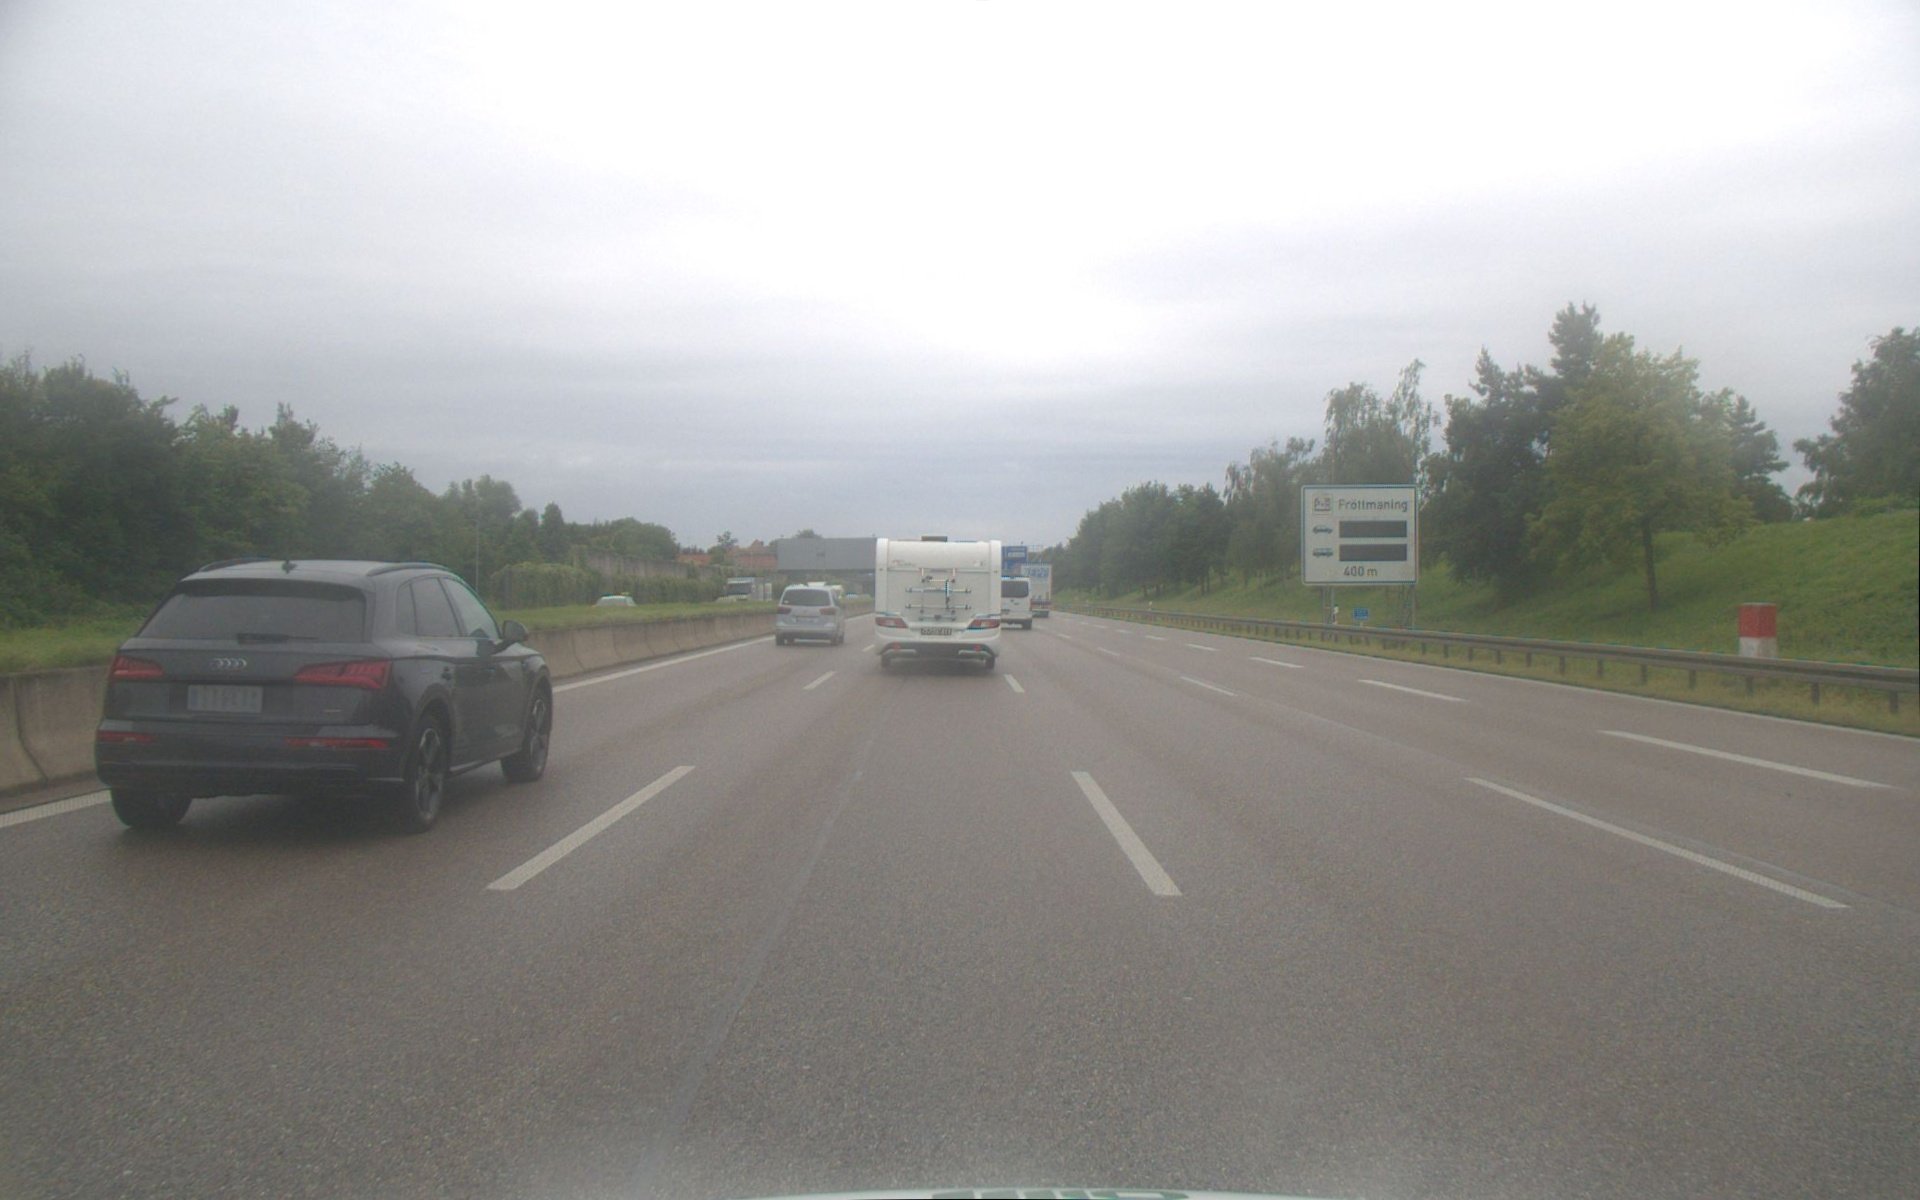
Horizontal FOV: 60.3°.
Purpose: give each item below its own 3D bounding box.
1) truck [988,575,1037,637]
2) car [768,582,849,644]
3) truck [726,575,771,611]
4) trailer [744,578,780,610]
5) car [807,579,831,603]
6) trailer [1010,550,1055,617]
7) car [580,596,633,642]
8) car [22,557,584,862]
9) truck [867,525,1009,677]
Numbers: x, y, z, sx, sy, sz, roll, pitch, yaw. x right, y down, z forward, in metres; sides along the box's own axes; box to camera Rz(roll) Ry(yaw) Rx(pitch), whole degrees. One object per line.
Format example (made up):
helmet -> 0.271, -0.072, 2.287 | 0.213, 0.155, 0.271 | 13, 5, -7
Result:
truck -> 2.448, 0.285, 78.805 | 2.011, 2.818, 5.547 | 1, 0, -1
car -> -4.425, 0.350, 48.804 | 2.084, 1.736, 4.112 | 0, 0, -1
truck -> -20.560, -0.622, 161.339 | 2.825, 3.277, 11.358 | 1, 0, 0
trailer -> -20.404, -0.586, 171.028 | 2.720, 3.131, 7.872 | 1, 0, 0
car -> -17.215, -1.059, 202.710 | 2.274, 2.782, 7.315 | 1, 0, 0
trailer -> 5.642, -1.240, 130.514 | 3.036, 5.008, 11.790 | 1, 0, 0
car -> -16.186, 0.840, 75.860 | 1.587, 2.049, 4.000 | 1, 0, 0
car -> -4.167, 0.607, 11.602 | 1.953, 1.628, 5.122 | 1, 0, -1
truck -> -0.452, 0.026, 33.436 | 2.607, 2.790, 5.076 | 1, 0, -1
